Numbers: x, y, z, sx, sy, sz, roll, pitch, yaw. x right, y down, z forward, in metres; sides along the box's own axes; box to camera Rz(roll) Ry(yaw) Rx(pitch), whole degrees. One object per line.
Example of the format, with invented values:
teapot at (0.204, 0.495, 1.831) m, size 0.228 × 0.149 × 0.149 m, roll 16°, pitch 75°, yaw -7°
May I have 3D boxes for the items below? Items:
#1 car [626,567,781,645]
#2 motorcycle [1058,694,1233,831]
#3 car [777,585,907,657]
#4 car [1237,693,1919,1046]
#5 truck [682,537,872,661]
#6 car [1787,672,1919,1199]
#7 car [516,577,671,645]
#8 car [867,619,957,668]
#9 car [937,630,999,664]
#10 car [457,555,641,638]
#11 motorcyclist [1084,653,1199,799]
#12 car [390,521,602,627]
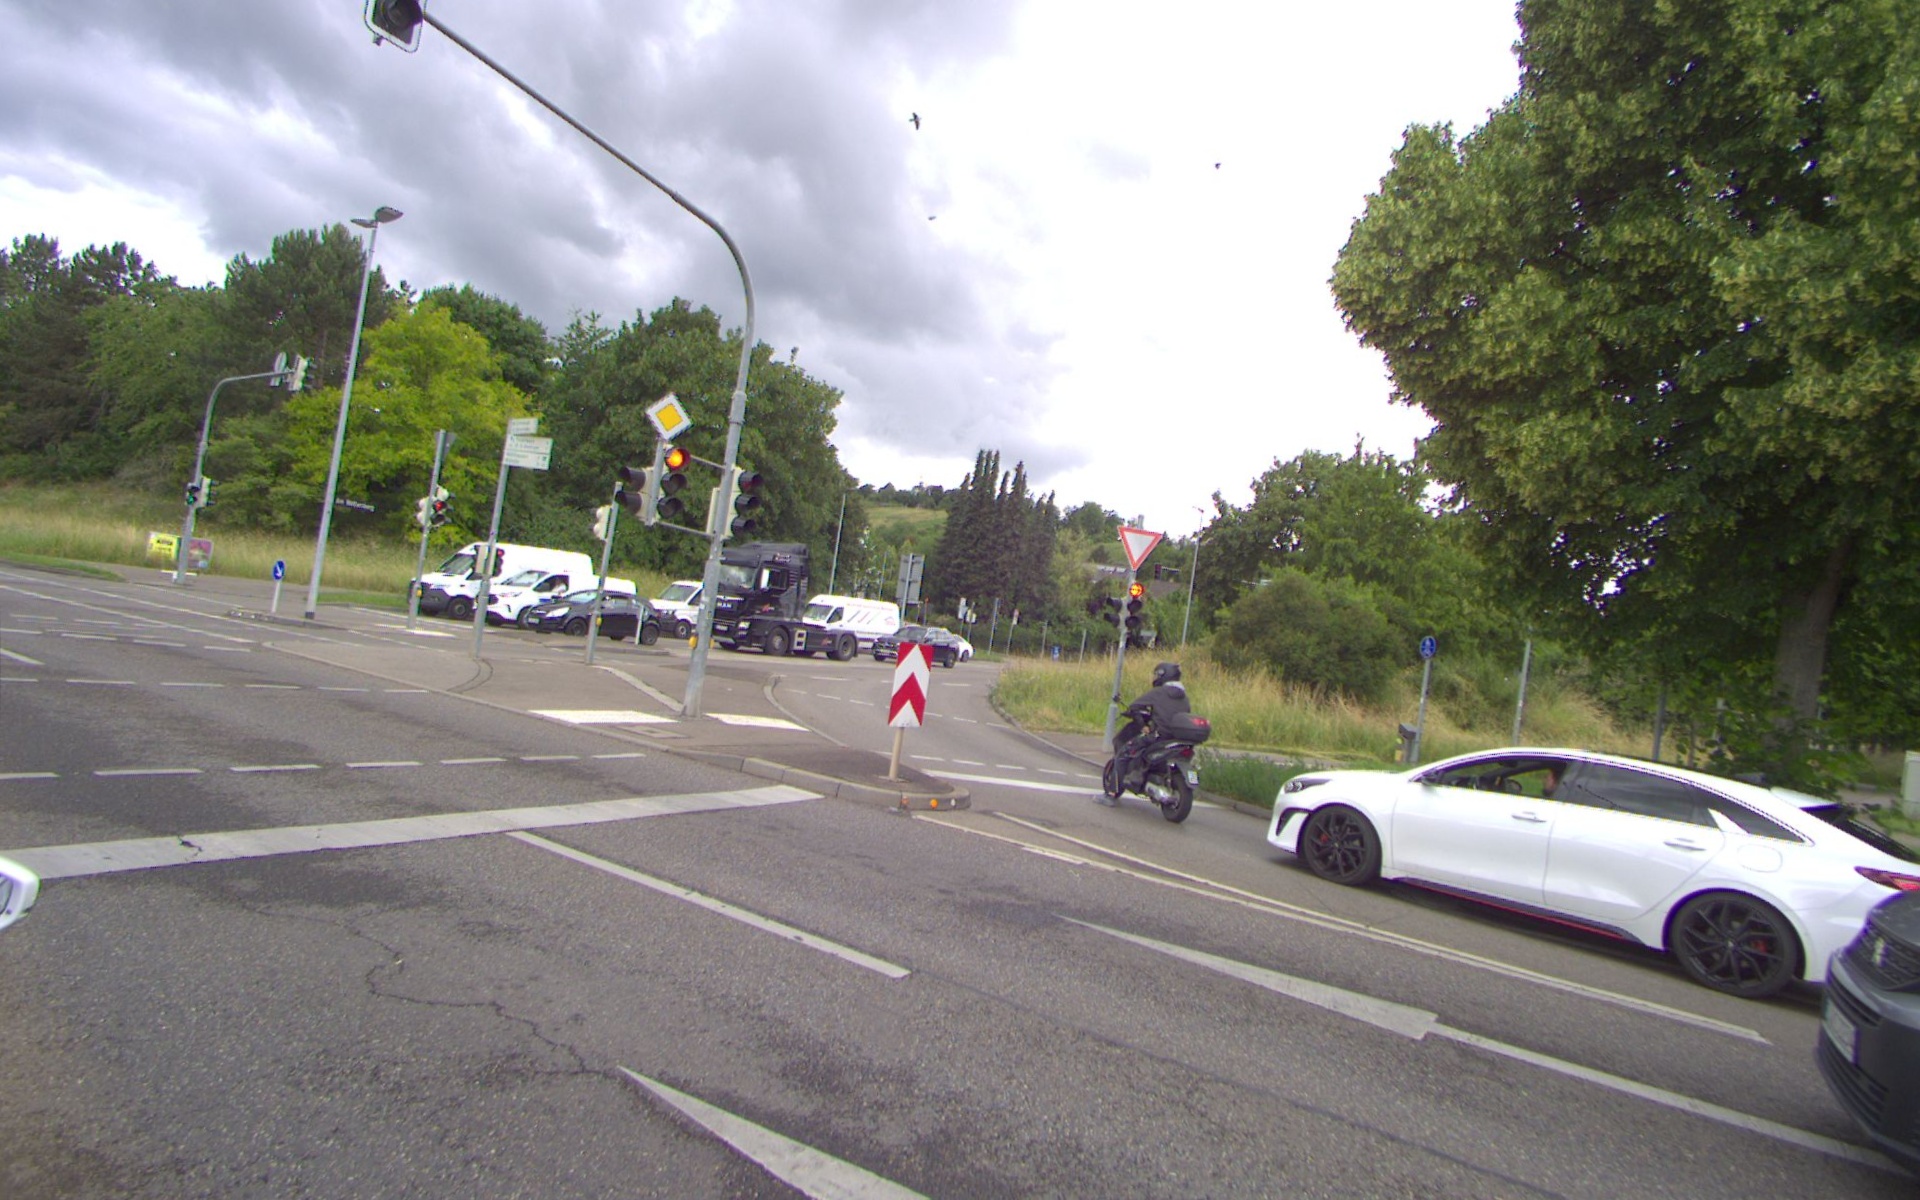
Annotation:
car at (-10.292, 0.317, 40.940) m, size 2.193 × 2.413 × 5.948 m, roll 6°, pitch -2°, yaw 35°
motorcycle at (1.977, 1.736, 11.108) m, size 0.750 × 1.102 × 2.059 m, roll 9°, pitch -2°, yaw -23°
car at (-5.569, 1.077, 48.676) m, size 2.192 × 2.751 × 6.674 m, roll 6°, pitch -2°, yaw 33°
car at (4.680, 1.801, 7.797) m, size 1.827 × 1.435 × 4.459 m, roll 12°, pitch -5°, yaw -44°
truck at (-6.292, 0.052, 35.473) m, size 3.025 × 3.558 × 5.950 m, roll 6°, pitch -2°, yaw 33°
car at (5.033, 1.372, 2.557) m, size 4.153 × 1.801 × 1.812 m, roll 7°, pitch -1°, yaw 32°
car at (-10.411, 0.356, 28.837) m, size 1.610 × 1.458 × 3.858 m, roll 7°, pitch -2°, yaw 34°
car at (-1.940, 1.853, 42.005) m, size 1.722 × 1.594 × 3.861 m, roll 7°, pitch -2°, yaw 32°
car at (0.480, 2.688, 57.181) m, size 1.625 × 1.473 × 3.861 m, roll 7°, pitch -2°, yaw 32°
car at (-12.851, -0.048, 31.809) m, size 2.086 × 2.013 × 4.981 m, roll 5°, pitch -3°, yaw 32°
motorcyclist at (2.007, 1.383, 11.178) m, size 0.750 × 1.437 × 0.813 m, roll 9°, pitch -1°, yaw -23°
car at (-15.299, -0.784, 33.604) m, size 2.192 × 2.689 × 5.950 m, roll 6°, pitch -2°, yaw 33°
